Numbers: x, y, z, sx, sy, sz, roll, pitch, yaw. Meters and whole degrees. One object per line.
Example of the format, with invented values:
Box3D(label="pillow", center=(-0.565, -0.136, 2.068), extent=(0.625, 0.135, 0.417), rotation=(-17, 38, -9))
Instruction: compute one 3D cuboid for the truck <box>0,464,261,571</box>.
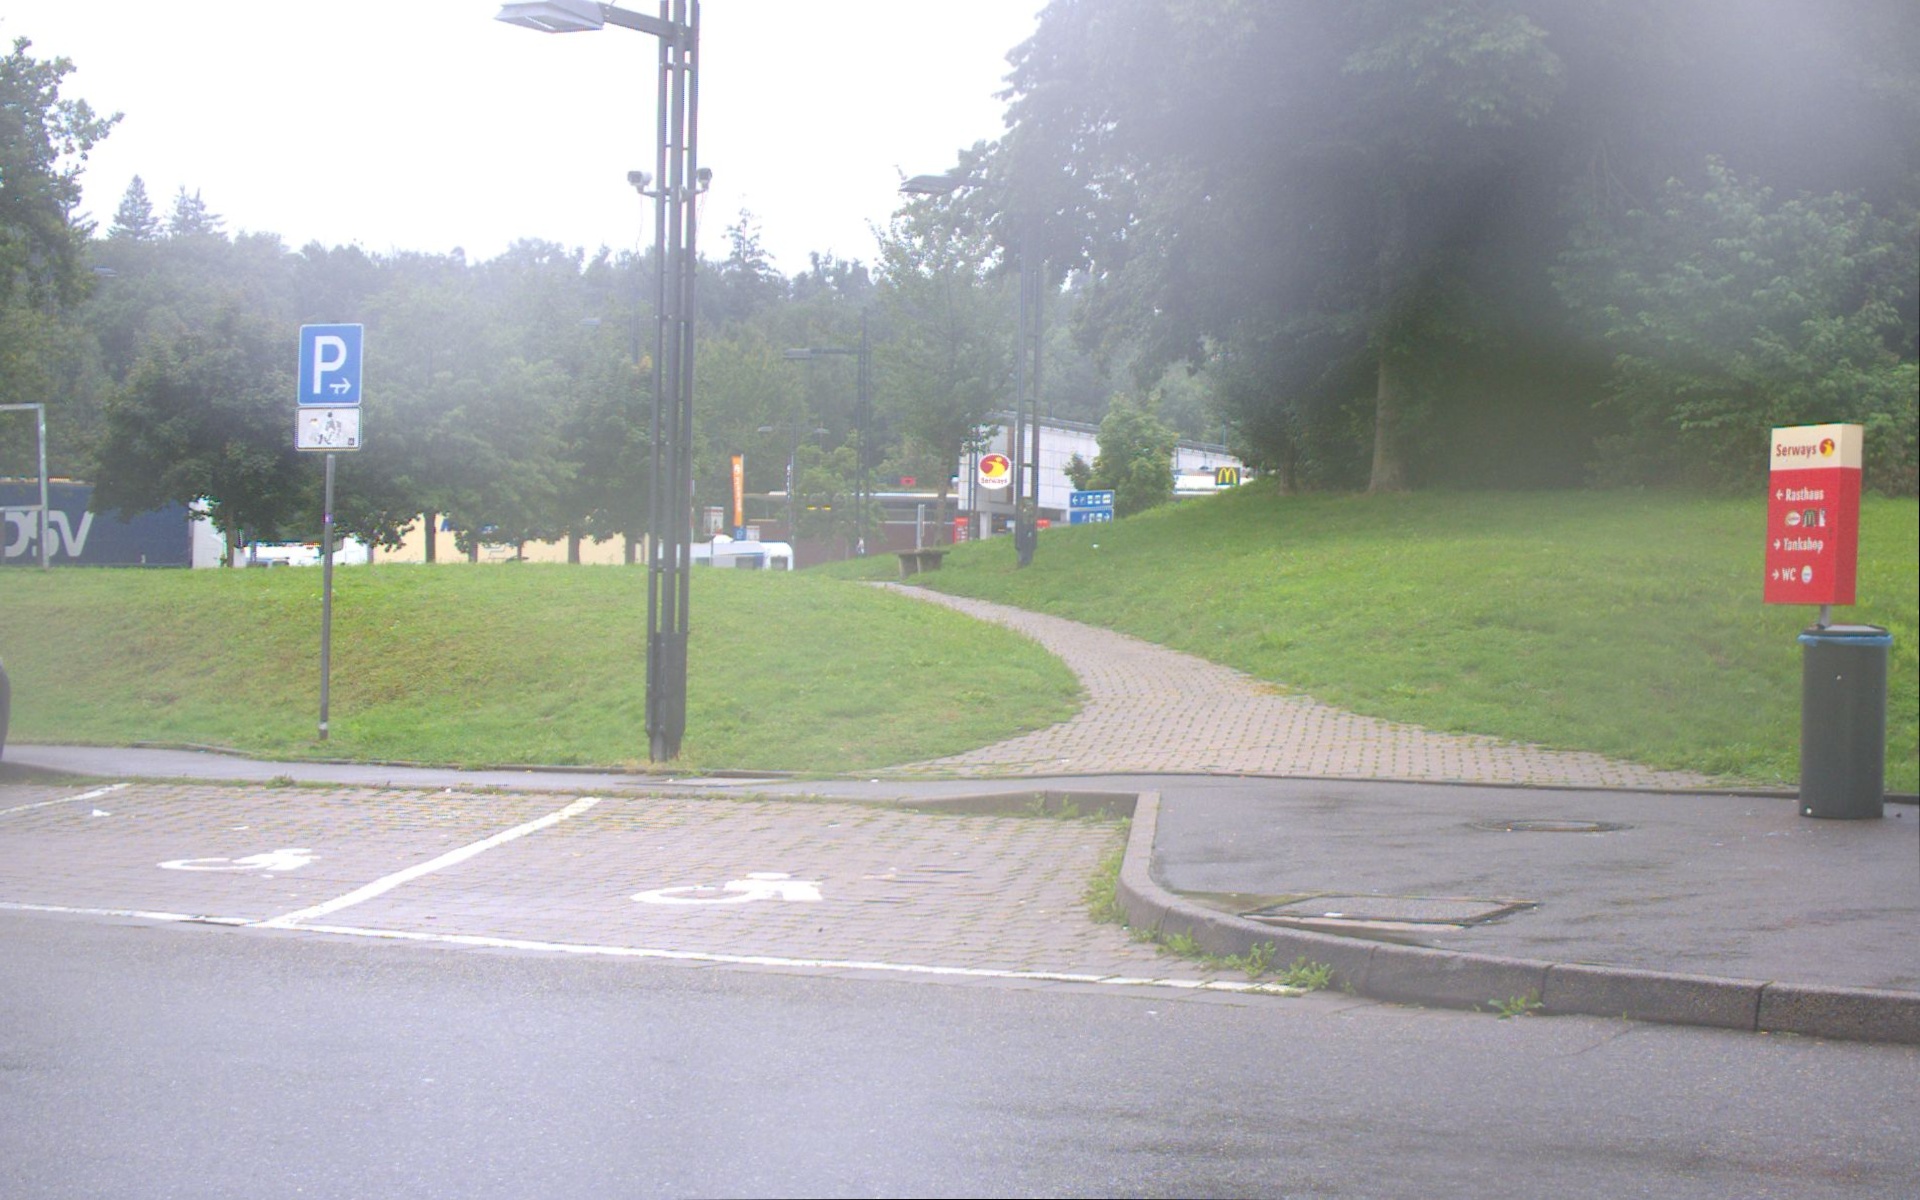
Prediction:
Box3D(label="truck", center=(-25.470, -2.367, 101.632), extent=(2.188, 2.910, 13.082), rotation=(1, 1, 24))

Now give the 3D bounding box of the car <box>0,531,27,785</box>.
Box3D(label="car", center=(-7.802, 0.453, 21.496), extent=(2.018, 1.705, 4.341), rotation=(-1, 1, 12))

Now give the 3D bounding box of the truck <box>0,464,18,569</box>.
Box3D(label="truck", center=(-28.608, -2.342, 94.662), extent=(2.189, 2.910, 5.380), rotation=(1, 1, 24))

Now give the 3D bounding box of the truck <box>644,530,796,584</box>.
Box3D(label="truck", center=(-9.334, -1.666, 133.810), extent=(5.413, 2.007, 2.364), rotation=(1, 1, 25))
